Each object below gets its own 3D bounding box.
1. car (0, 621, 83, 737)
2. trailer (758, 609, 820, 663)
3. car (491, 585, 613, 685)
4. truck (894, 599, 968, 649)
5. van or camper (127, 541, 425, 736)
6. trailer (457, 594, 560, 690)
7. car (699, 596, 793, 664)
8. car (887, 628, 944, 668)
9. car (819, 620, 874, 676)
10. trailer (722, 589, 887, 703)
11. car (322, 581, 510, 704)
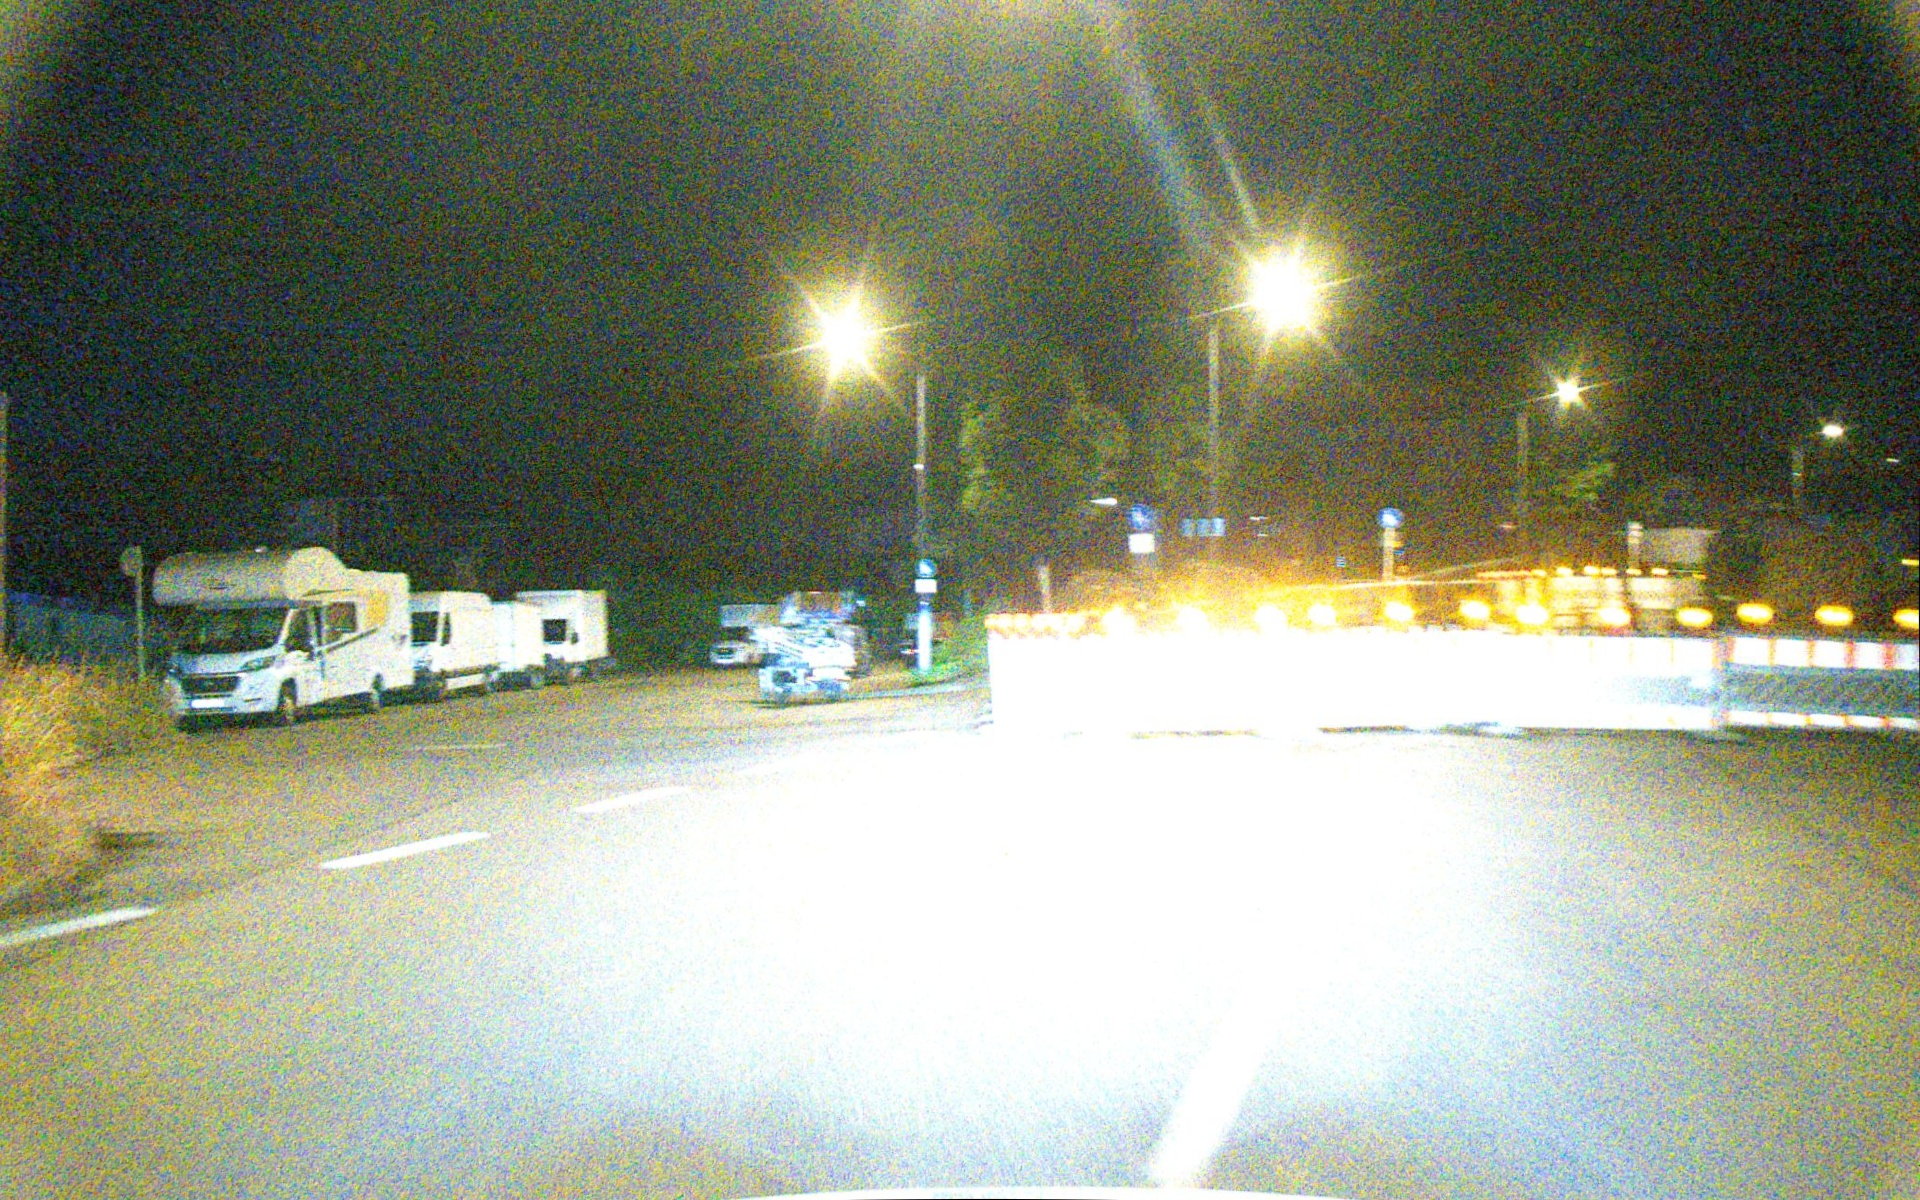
[{"bbox_3d":[-25.512,2.009,41.286,1.953,2.891,6.678,0,0,23],"label":"car"},{"bbox_3d":[-9.363,1.957,91.114,1.951,2.862,4.706,-1,0,13],"label":"trailer"},{"bbox_3d":[-13.314,1.135,54.508,2.469,2.978,7.196,-2,-1,-3],"label":"car"},{"bbox_3d":[-1.993,1.669,118.873,1.953,3.463,8.978,0,0,22],"label":"truck"},{"bbox_3d":[-12.575,0.691,31.194,2.467,3.148,7.444,-2,-1,0],"label":"van or camper"},{"bbox_3d":[-12.886,1.163,47.440,1.953,2.572,3.566,-2,-1,-2],"label":"trailer"},{"bbox_3d":[-10.879,1.504,84.937,2.465,3.227,7.143,-2,-1,12],"label":"car"},{"bbox_3d":[-2.070,2.276,78.428,1.684,1.853,4.003,0,-2,14],"label":"car"},{"bbox_3d":[-3.893,1.647,57.362,1.685,1.853,3.999,0,-2,-1],"label":"car"},{"bbox_3d":[-3.389,0.988,35.091,1.542,2.198,5.171,-1,-1,-28],"label":"trailer"},{"bbox_3d":[-13.067,0.995,40.319,2.469,2.651,7.086,-2,-1,-3],"label":"car"}]
